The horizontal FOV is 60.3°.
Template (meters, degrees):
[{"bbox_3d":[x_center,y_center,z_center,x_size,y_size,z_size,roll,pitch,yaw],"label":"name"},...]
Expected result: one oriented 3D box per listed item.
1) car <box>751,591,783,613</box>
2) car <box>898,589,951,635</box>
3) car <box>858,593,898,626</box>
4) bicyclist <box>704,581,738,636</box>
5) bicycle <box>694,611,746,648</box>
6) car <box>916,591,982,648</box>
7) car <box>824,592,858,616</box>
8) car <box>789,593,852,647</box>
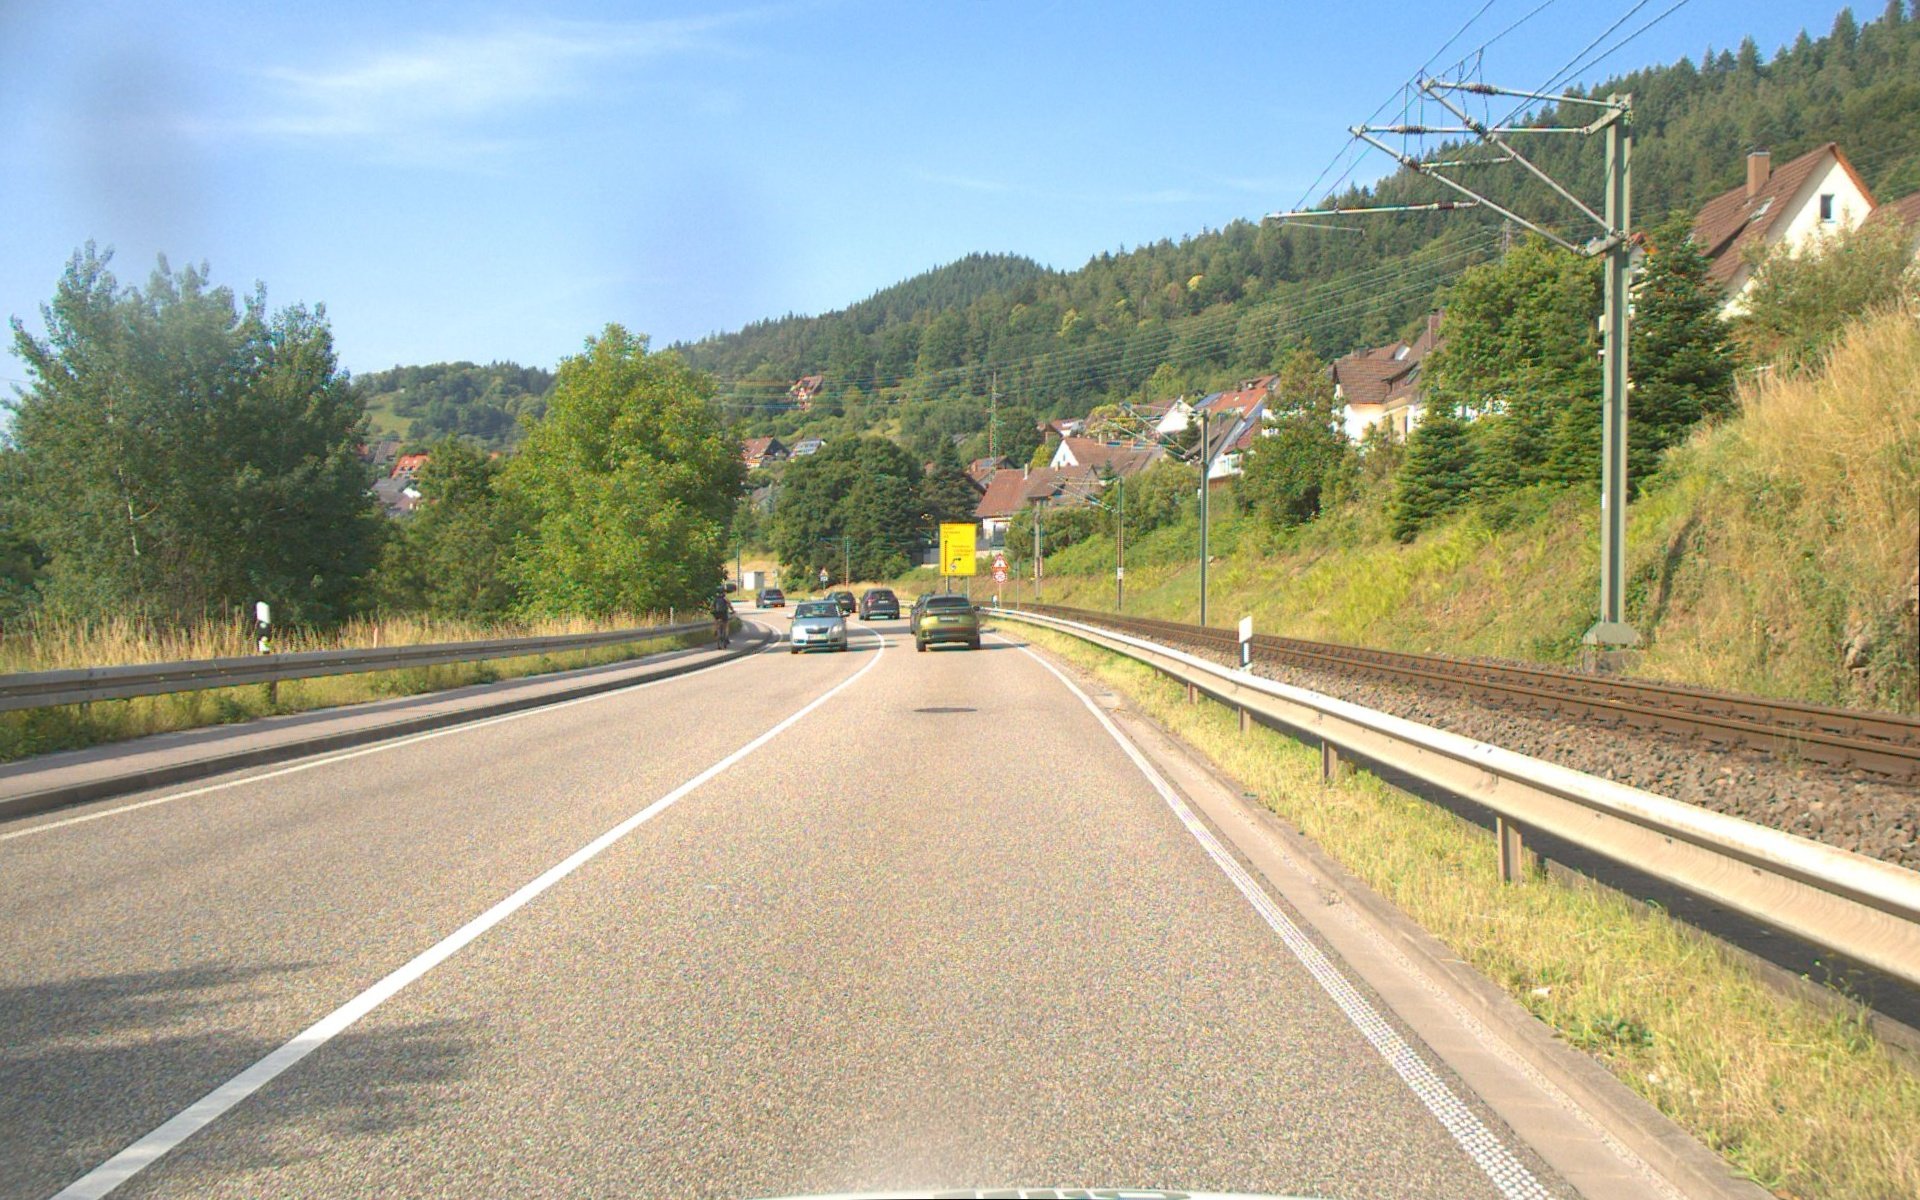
[{"bbox_3d":[-16.749,0.204,143.468,2.031,1.843,3.979,0,-1,-18],"label":"car"},{"bbox_3d":[-1.309,0.399,59.671,1.635,1.586,3.995,-1,0,-5],"label":"car"},{"bbox_3d":[-4.440,0.469,89.226,1.844,1.716,3.993,1,0,-8],"label":"car"},{"bbox_3d":[-7.165,0.258,49.640,0.546,1.614,1.036,2,0,20],"label":"bicyclist"},{"bbox_3d":[-7.188,0.874,49.648,0.546,1.064,2.230,2,1,20],"label":"bicycle"},{"bbox_3d":[-0.283,0.506,45.578,1.679,1.480,4.000,-2,0,0],"label":"car"},{"bbox_3d":[-7.943,0.248,110.193,1.815,1.553,3.653,1,0,-10],"label":"car"},{"bbox_3d":[-4.067,0.543,48.591,1.545,1.505,3.999,1,0,-1],"label":"car"}]
